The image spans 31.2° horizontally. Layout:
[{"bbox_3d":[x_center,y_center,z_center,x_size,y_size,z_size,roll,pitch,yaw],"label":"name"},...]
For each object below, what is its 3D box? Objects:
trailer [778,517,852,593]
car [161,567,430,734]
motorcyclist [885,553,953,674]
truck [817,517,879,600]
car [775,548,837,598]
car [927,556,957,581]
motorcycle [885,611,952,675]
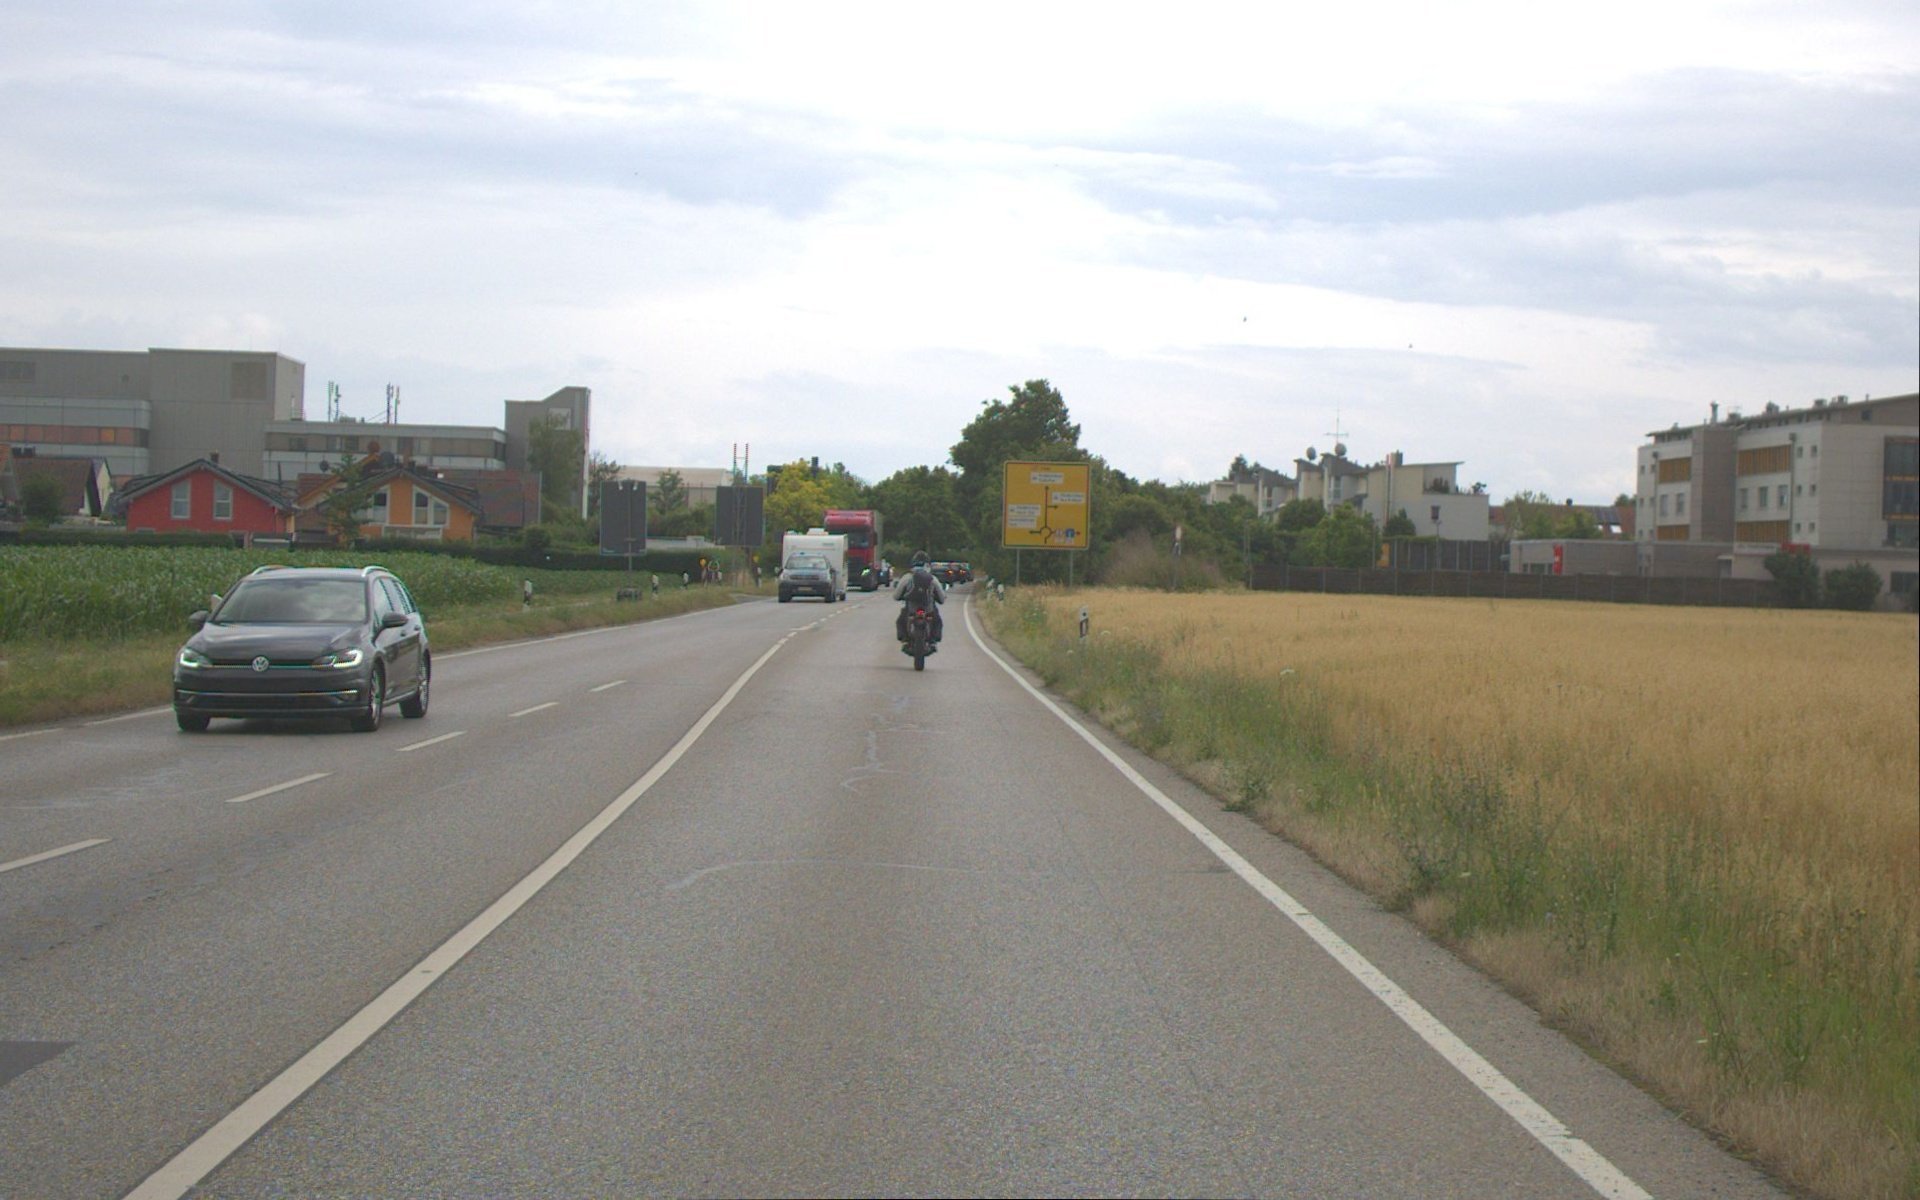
[{"bbox_3d":[-5.466,-1.692,130.494,2.324,2.720,7.843,2,0,0],"label":"trailer"},{"bbox_3d":[-6.031,0.422,31.644,1.669,1.424,4.303,0,0,0],"label":"car"},{"bbox_3d":[-0.605,0.200,51.268,0.941,1.744,1.200,2,0,0],"label":"motorcyclist"},{"bbox_3d":[-5.540,-2.054,171.067,2.729,3.974,6.816,1,0,0],"label":"truck"},{"bbox_3d":[-5.552,-0.983,124.419,1.993,1.693,4.676,2,0,0],"label":"car"},{"bbox_3d":[-1.154,-2.012,219.354,1.855,1.467,4.000,2,0,0],"label":"car"},{"bbox_3d":[-0.613,0.636,51.303,0.941,0.887,2.146,2,0,0],"label":"motorcycle"}]
